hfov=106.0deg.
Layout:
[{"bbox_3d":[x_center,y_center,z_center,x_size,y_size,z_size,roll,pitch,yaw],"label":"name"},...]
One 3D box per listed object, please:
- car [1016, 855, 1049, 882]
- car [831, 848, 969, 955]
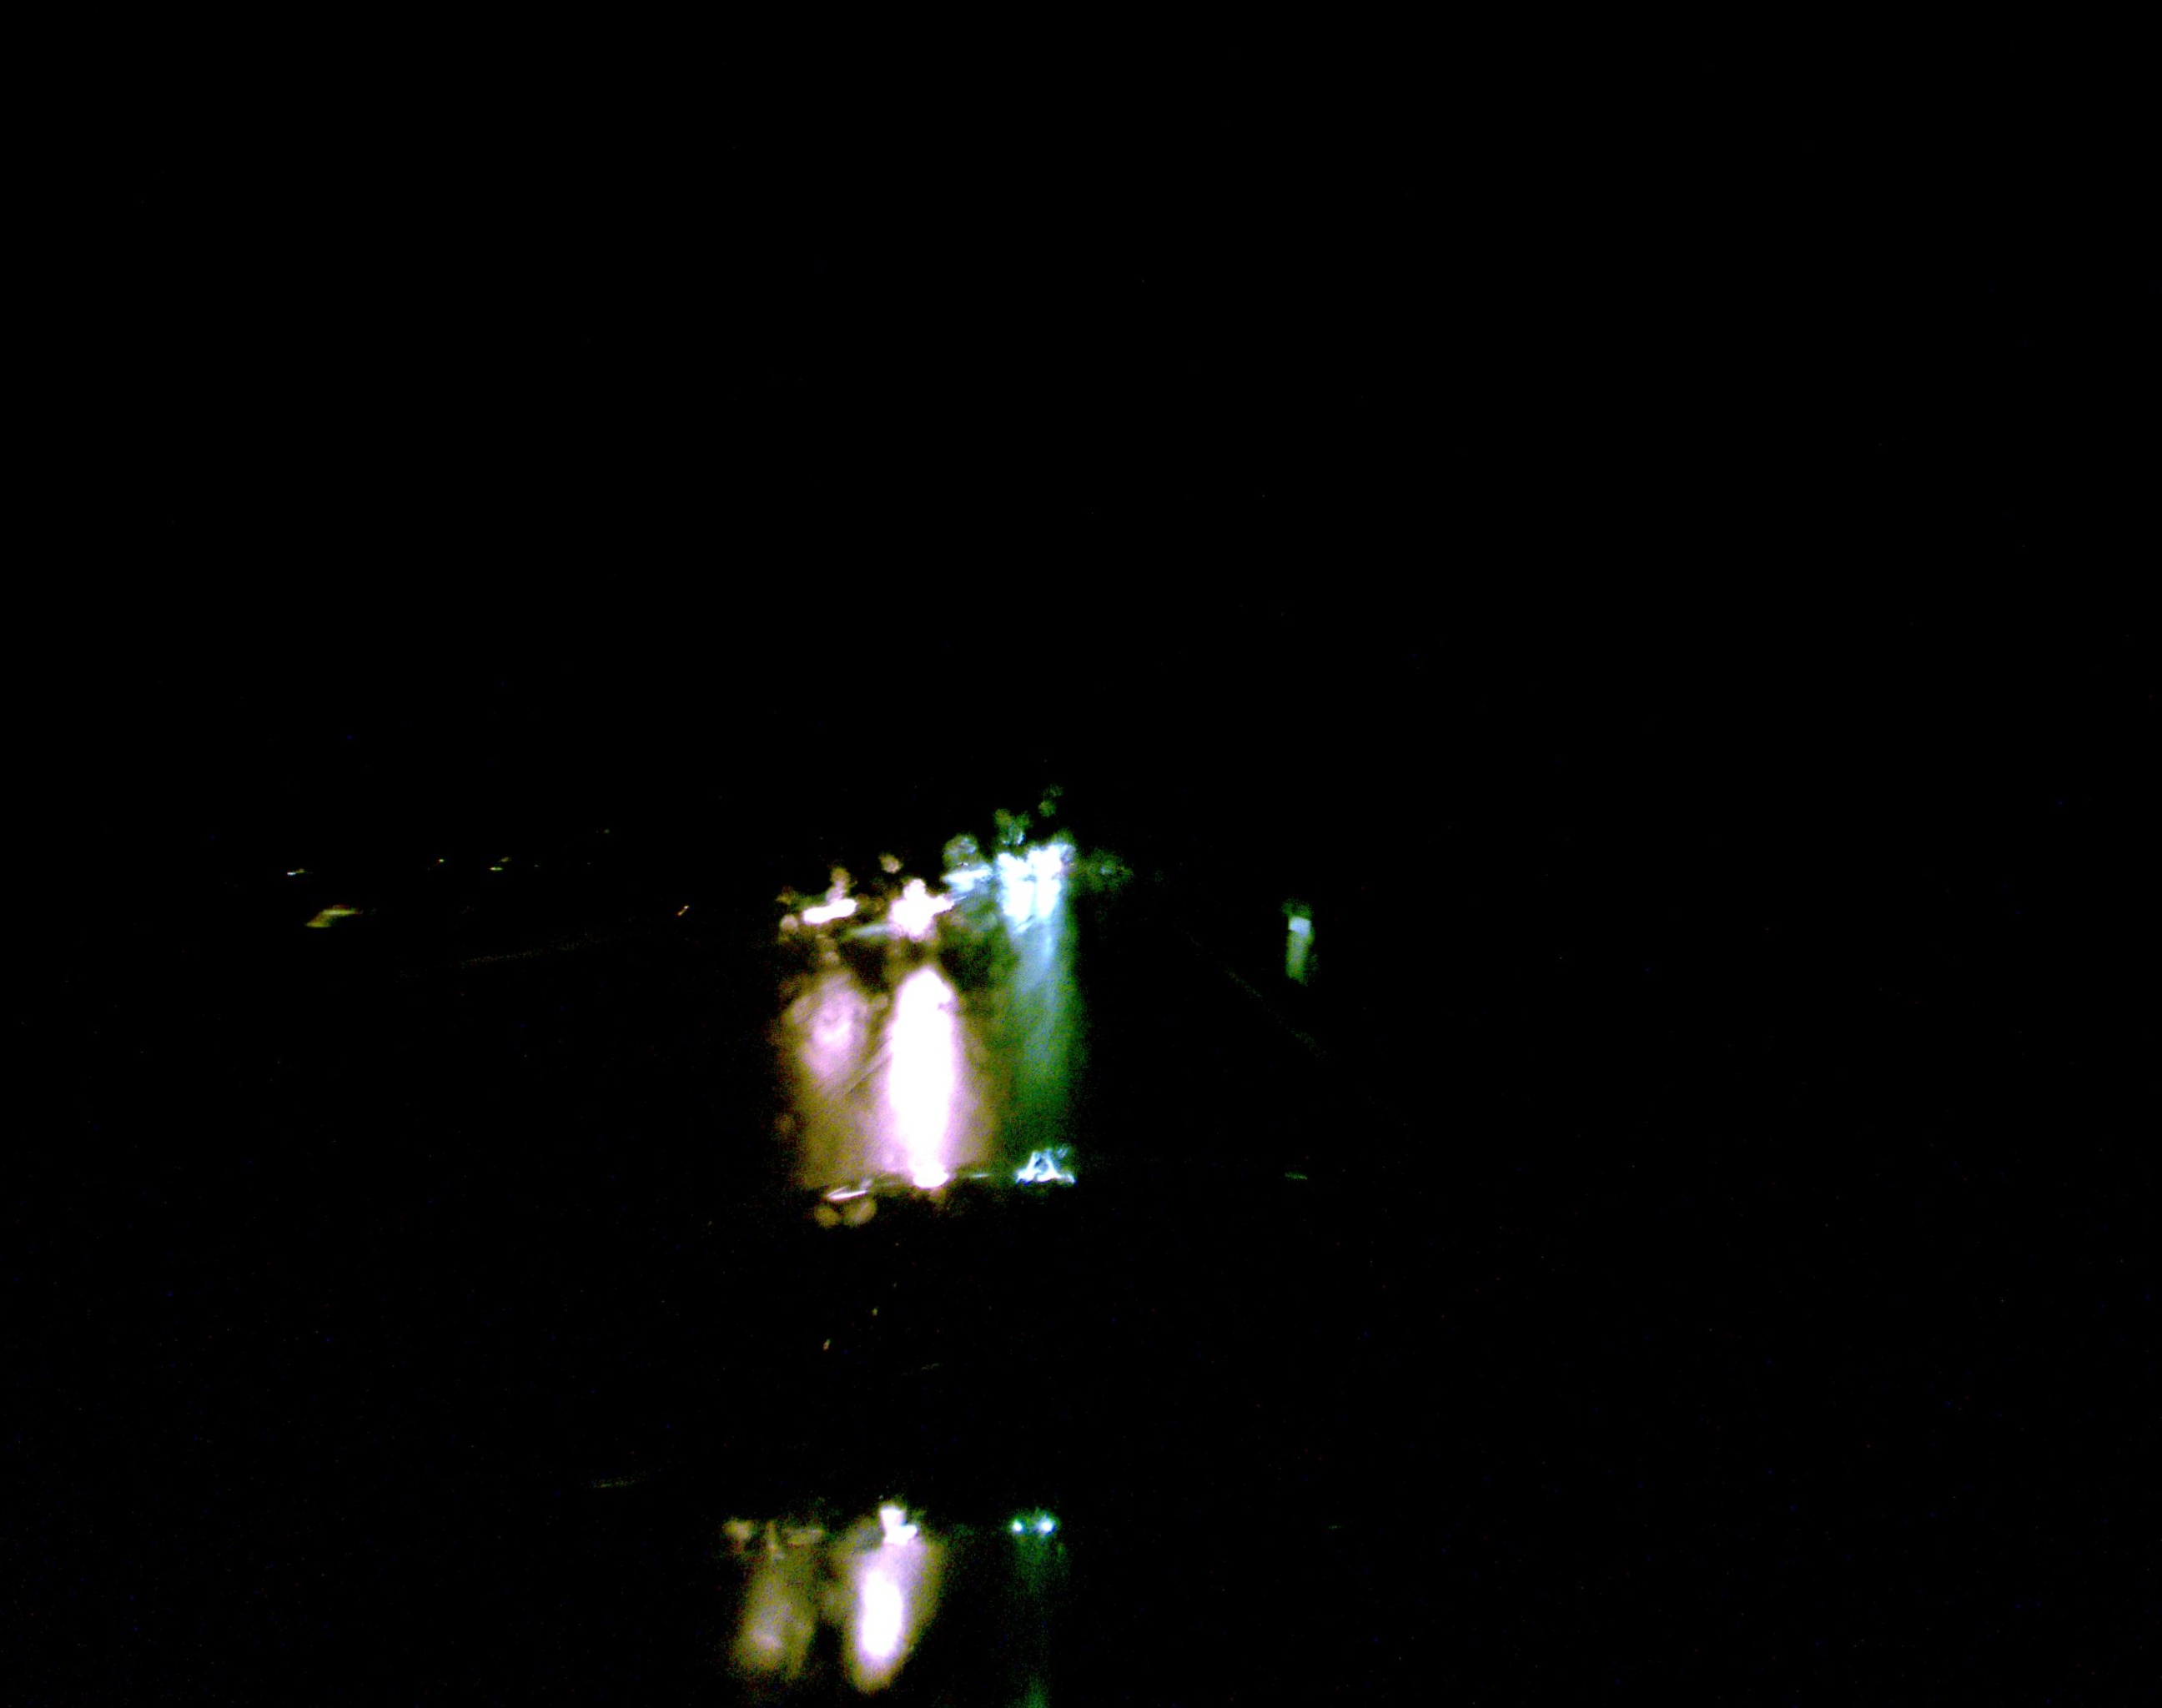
[{"bbox_3d":[-3.165,0.909,53.940,1.920,1.703,4.000,0,0,0],"label":"car"},{"bbox_3d":[-3.037,0.726,14.360,1.478,1.616,3.562,2,0,2],"label":"car"}]
